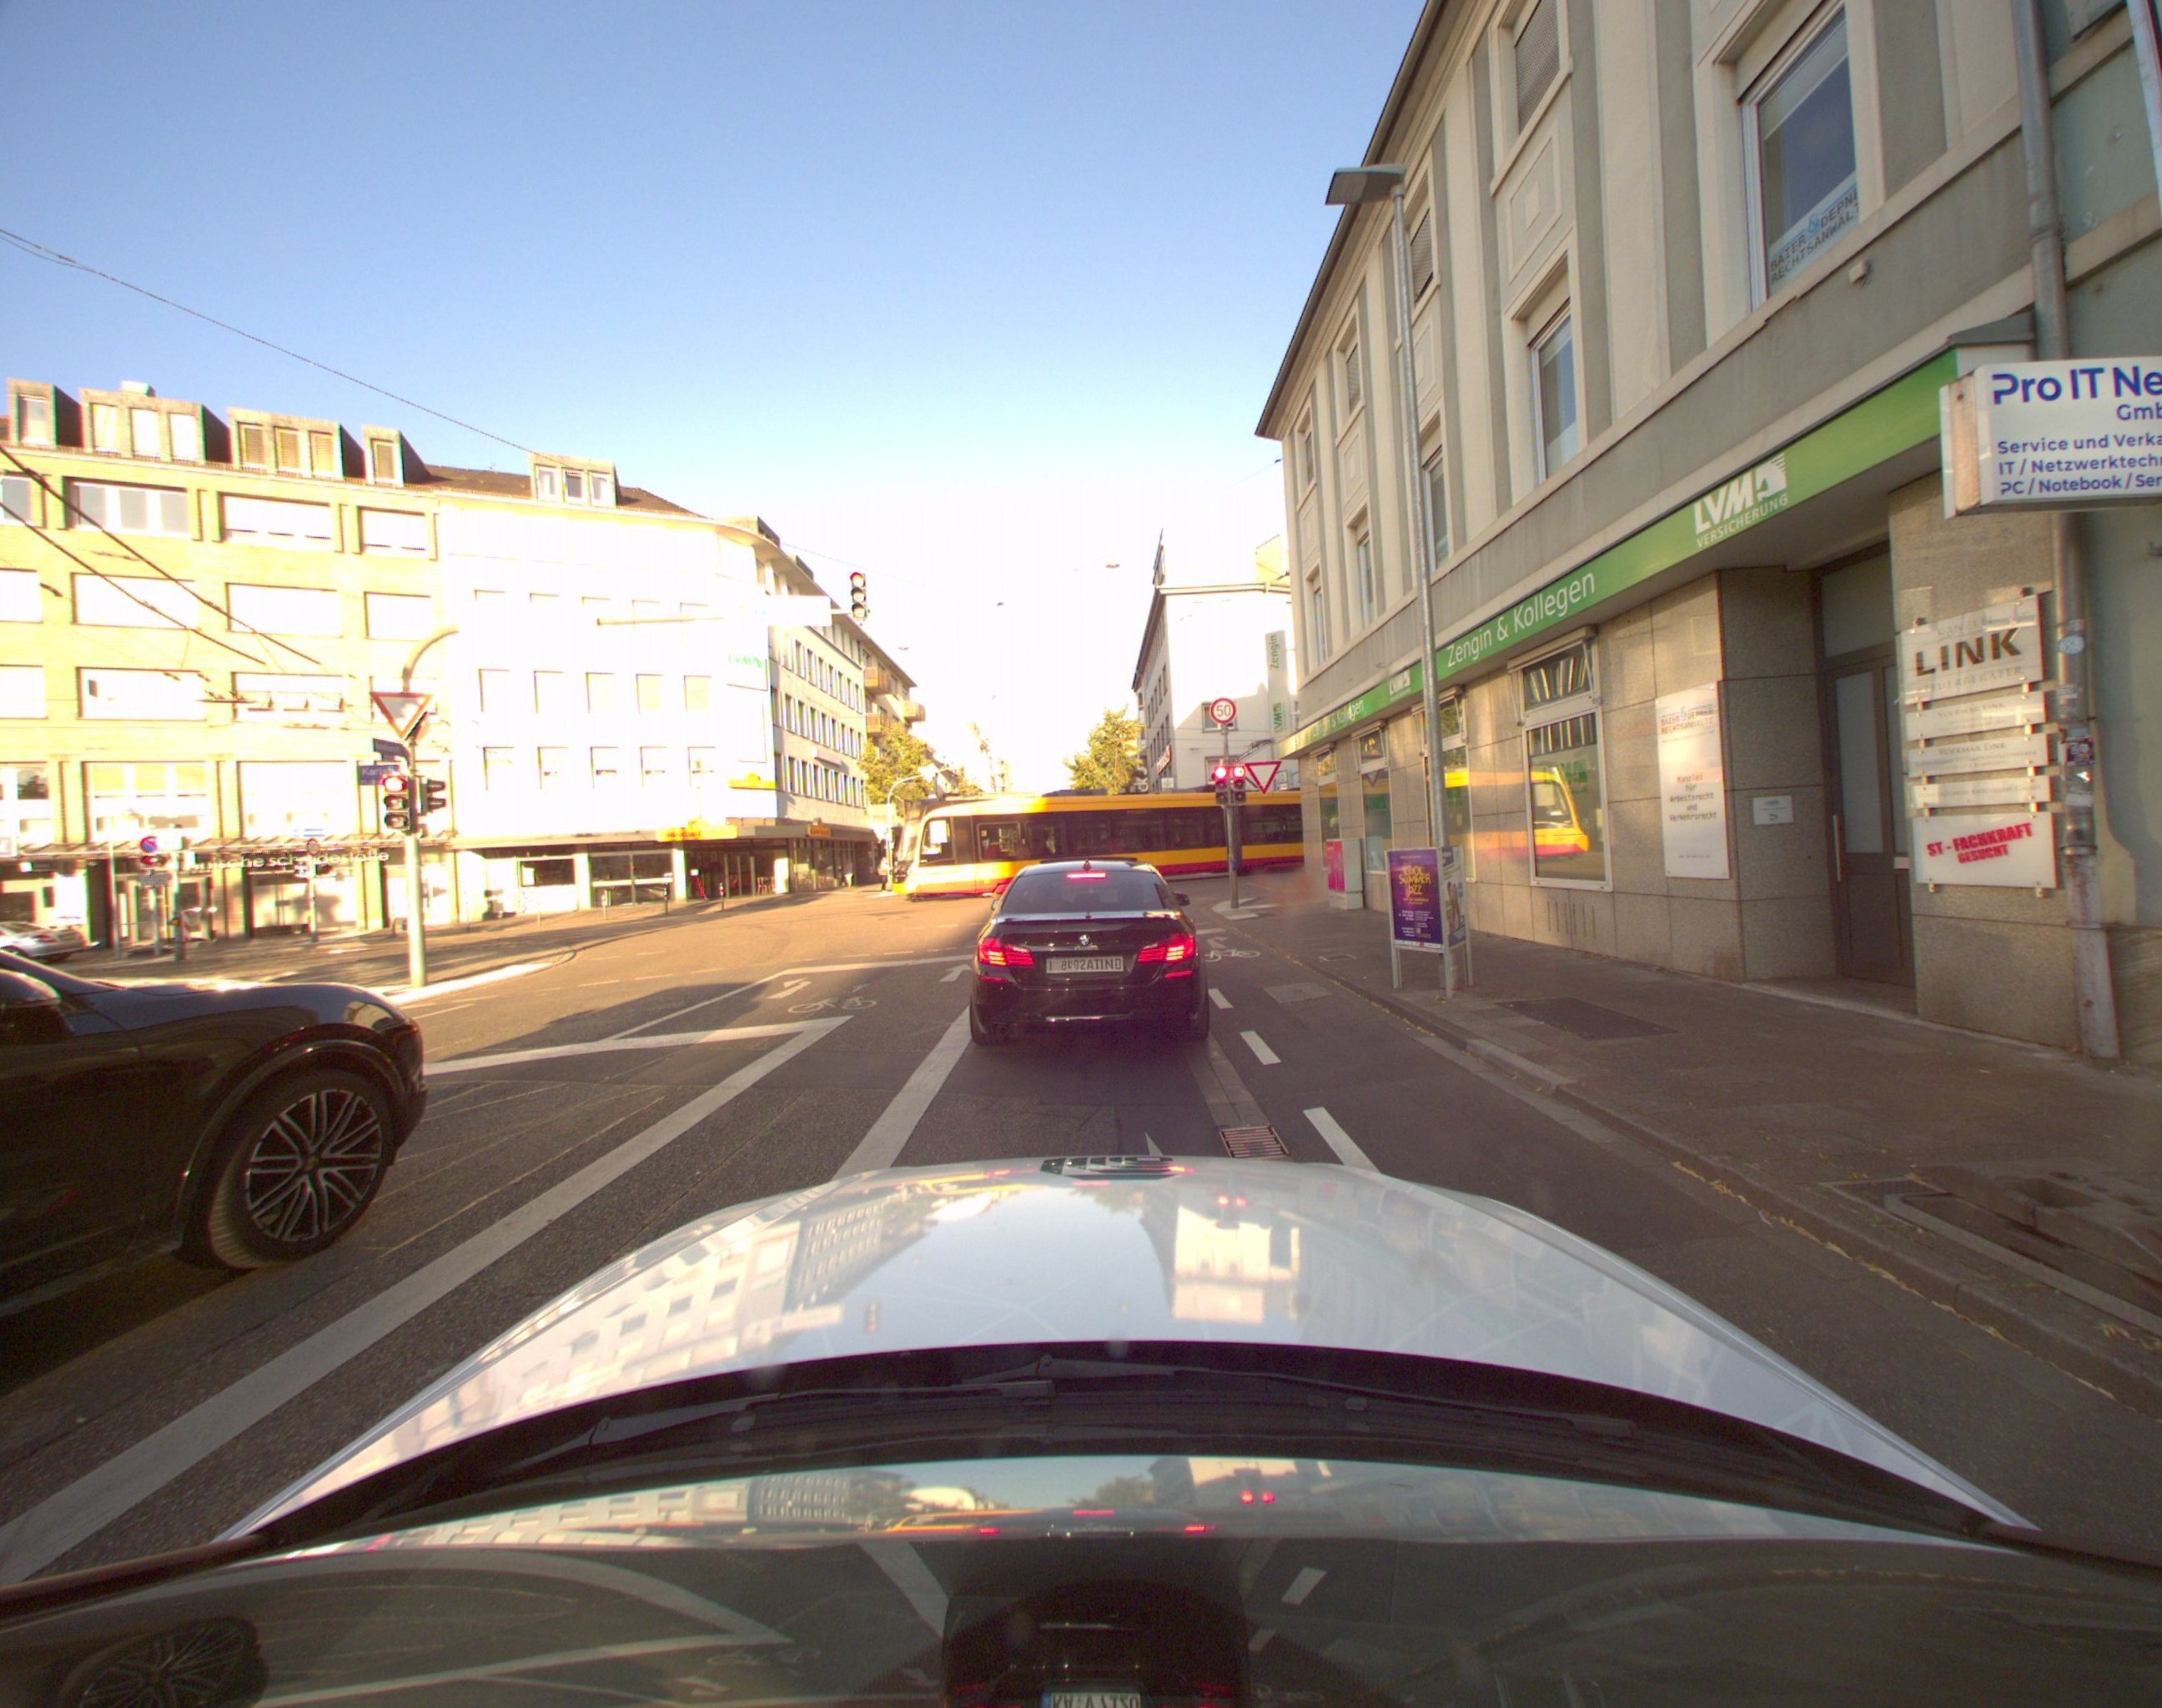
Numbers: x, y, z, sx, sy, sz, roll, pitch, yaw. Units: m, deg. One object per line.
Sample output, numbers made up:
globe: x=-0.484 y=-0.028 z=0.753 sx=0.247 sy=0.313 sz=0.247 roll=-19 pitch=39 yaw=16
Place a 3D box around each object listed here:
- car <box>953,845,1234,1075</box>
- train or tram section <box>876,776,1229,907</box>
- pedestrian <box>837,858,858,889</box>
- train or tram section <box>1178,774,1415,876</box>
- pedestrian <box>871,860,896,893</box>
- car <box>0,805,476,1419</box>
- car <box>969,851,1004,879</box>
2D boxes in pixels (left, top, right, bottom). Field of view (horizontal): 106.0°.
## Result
car: x=0.072 y=0.707 z=7.810 sx=1.898 sy=1.540 sz=4.448 roll=-1 pitch=0 yaw=-1
train or tram section: x=-0.635 y=-0.638 z=29.537 sx=12.696 sy=3.865 sz=3.052 roll=-4 pitch=0 yaw=-30
pedestrian: x=-13.129 y=1.099 z=45.832 sx=0.821 sy=1.676 sz=0.871 roll=-3 pitch=0 yaw=-1
train or tram section: x=9.481 y=-1.324 z=35.257 sx=10.486 sy=3.811 sz=3.053 roll=-4 pitch=0 yaw=-28
pedestrian: x=-9.614 y=1.089 z=39.697 sx=0.944 sy=1.537 sz=0.907 roll=-3 pitch=0 yaw=-3
car: x=-4.034 y=0.784 z=1.720 sx=1.942 sy=1.714 sz=4.562 roll=-4 pitch=0 yaw=1
car: x=-6.031 y=0.661 z=52.358 sx=1.990 sy=1.618 sz=3.993 roll=-3 pitch=0 yaw=-5
